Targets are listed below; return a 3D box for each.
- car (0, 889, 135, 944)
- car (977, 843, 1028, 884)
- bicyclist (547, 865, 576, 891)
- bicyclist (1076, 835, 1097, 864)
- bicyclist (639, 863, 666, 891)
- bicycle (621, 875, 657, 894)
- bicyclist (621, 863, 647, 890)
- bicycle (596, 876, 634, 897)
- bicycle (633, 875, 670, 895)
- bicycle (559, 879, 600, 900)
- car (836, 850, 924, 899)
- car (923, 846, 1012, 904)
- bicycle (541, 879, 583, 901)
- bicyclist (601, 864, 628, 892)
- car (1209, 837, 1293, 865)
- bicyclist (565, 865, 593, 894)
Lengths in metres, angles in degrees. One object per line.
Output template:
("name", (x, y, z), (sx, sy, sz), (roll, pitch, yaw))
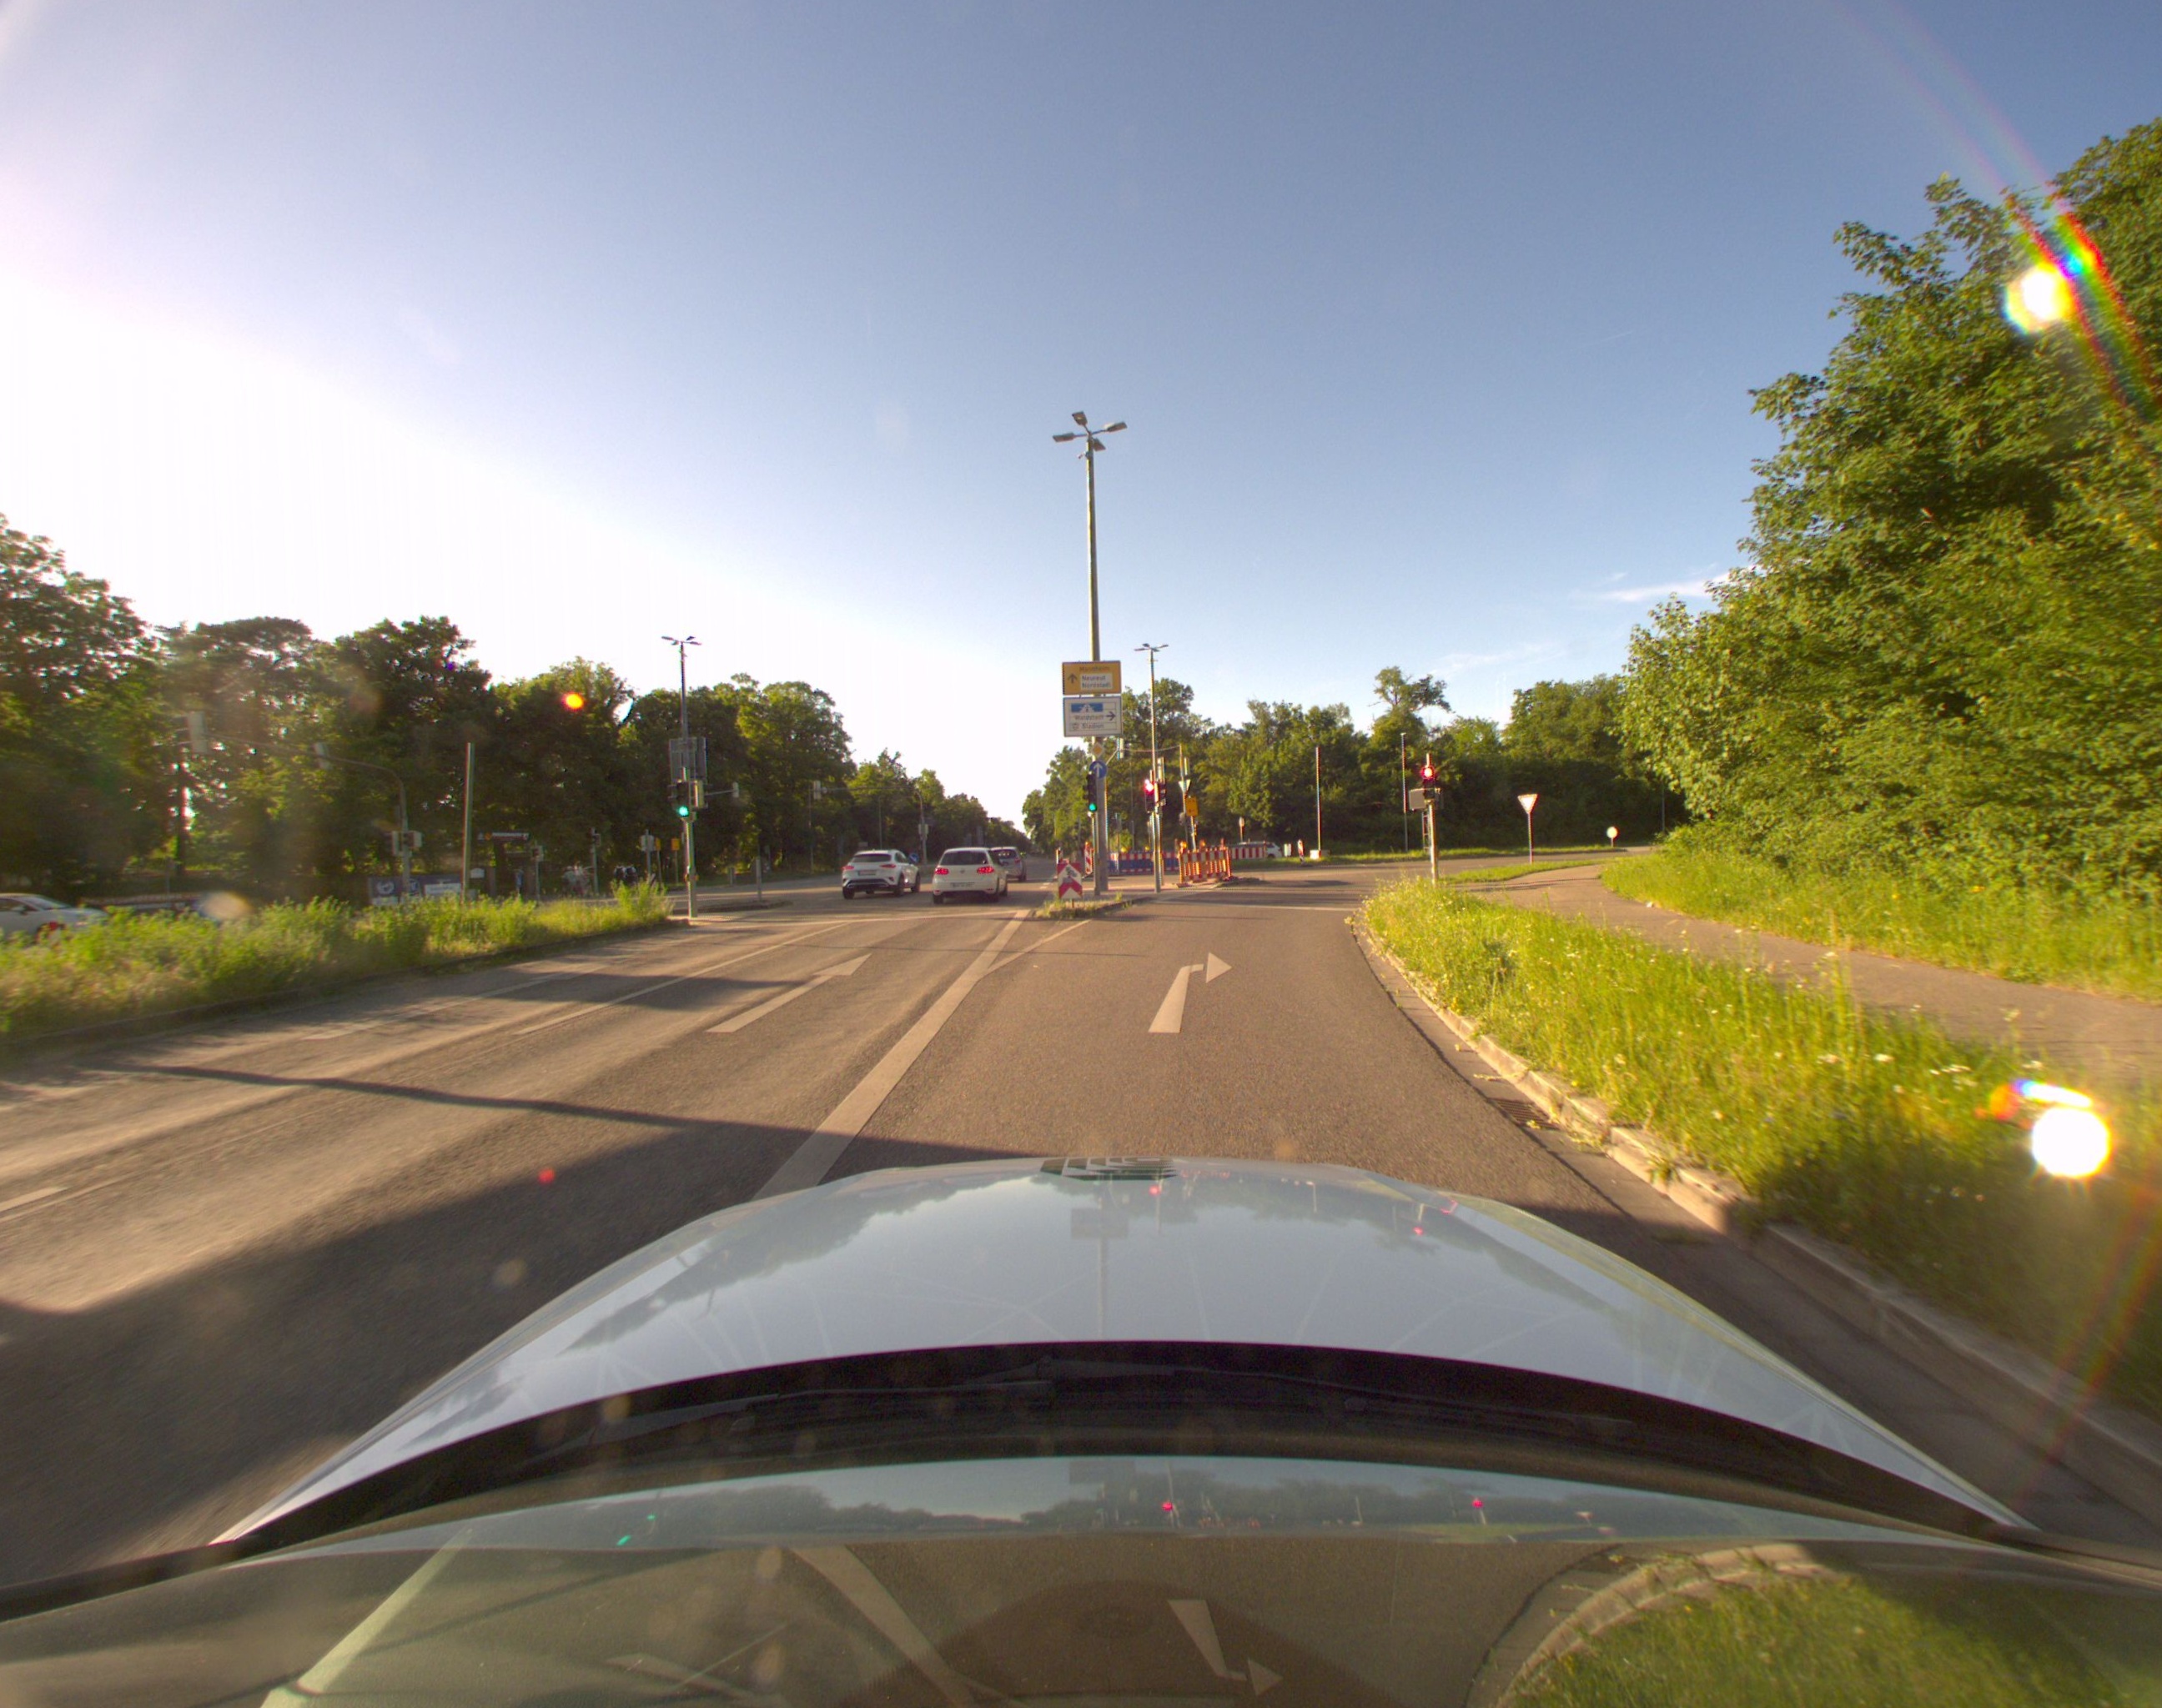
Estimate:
("car", (-30.944, 1.864, 23.795), (3.807, 1.389, 1.912), (-3, 0, -26))
("car", (-3.296, 0.369, 34.893), (1.990, 1.536, 3.994), (-2, 0, -4))
("bicyclist", (-25.621, 1.167, 40.208), (0.712, 1.192, 0.991), (-2, 0, 3))
("bicyclist", (0.343, -0.291, 54.814), (1.020, 1.929, 0.959), (-1, 1, -32))
("bicyclist", (-21.577, 1.156, 41.002), (0.712, 1.339, 0.991), (-2, 0, 3))
("bicycle", (-23.367, 1.604, 43.089), (0.712, 0.914, 1.912), (-2, 0, 3))
("bicyclist", (-23.411, 1.169, 42.629), (0.712, 1.342, 0.991), (-2, 0, 3))
("bicycle", (-23.440, 1.632, 40.997), (0.712, 0.914, 1.912), (-2, 0, 3))
("bicycle", (-21.567, 1.550, 40.945), (0.712, 0.914, 1.912), (-2, 0, 3))
("bicycle", (-24.689, 1.730, 40.144), (0.712, 0.914, 1.912), (-2, 0, 3))
("car", (-6.447, 0.611, 26.580), (1.857, 1.444, 3.999), (-1, 0, 0))
("car", (-3.076, 0.530, 22.900), (1.934, 1.414, 3.998), (-2, 0, -1))
("bicycle", (-25.595, 1.759, 40.211), (0.712, 0.914, 1.913), (-2, 1, 3))
("bicyclist", (-23.456, 1.198, 40.991), (0.712, 1.355, 0.991), (-2, 0, 3))
("car", (10.736, -0.180, 51.440), (4.837, 1.580, 1.985), (-2, 0, -22))
("bicyclist", (-24.715, 1.249, 40.108), (0.707, 1.389, 0.991), (-2, 0, 3))
